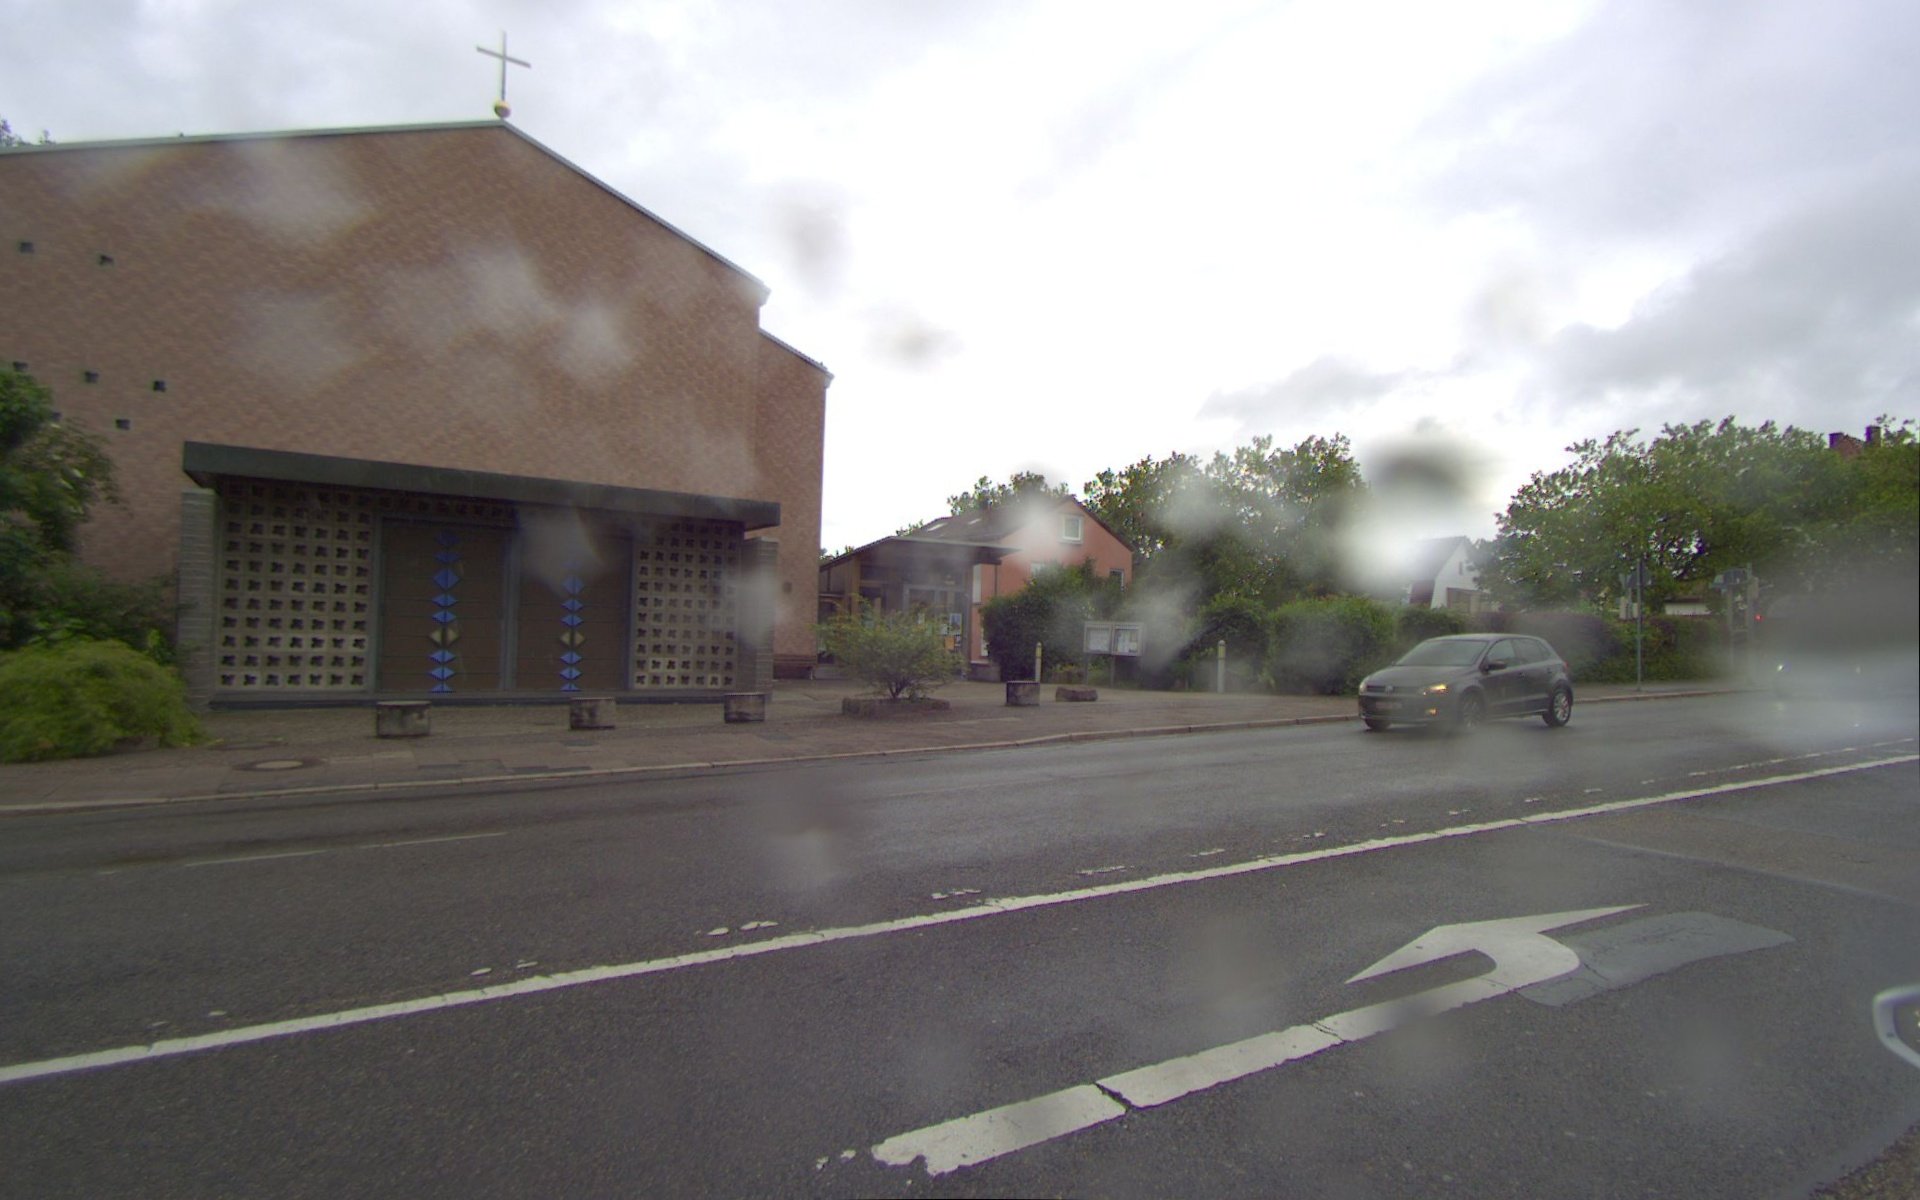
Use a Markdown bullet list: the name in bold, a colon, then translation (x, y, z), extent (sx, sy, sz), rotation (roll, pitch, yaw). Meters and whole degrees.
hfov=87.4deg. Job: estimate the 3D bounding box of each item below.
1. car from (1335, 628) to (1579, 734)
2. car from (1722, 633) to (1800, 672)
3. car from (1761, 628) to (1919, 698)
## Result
- **car**: translation (7.661, 1.172, 15.389), extent (3.863, 1.447, 1.586), rotation (1, -3, -33)
- **car**: translation (39.063, 2.527, 48.993), extent (3.955, 1.573, 1.798), rotation (-3, 2, -32)
- **car**: translation (20.881, 1.432, 23.522), extent (4.896, 1.473, 1.899), rotation (2, -2, -33)
